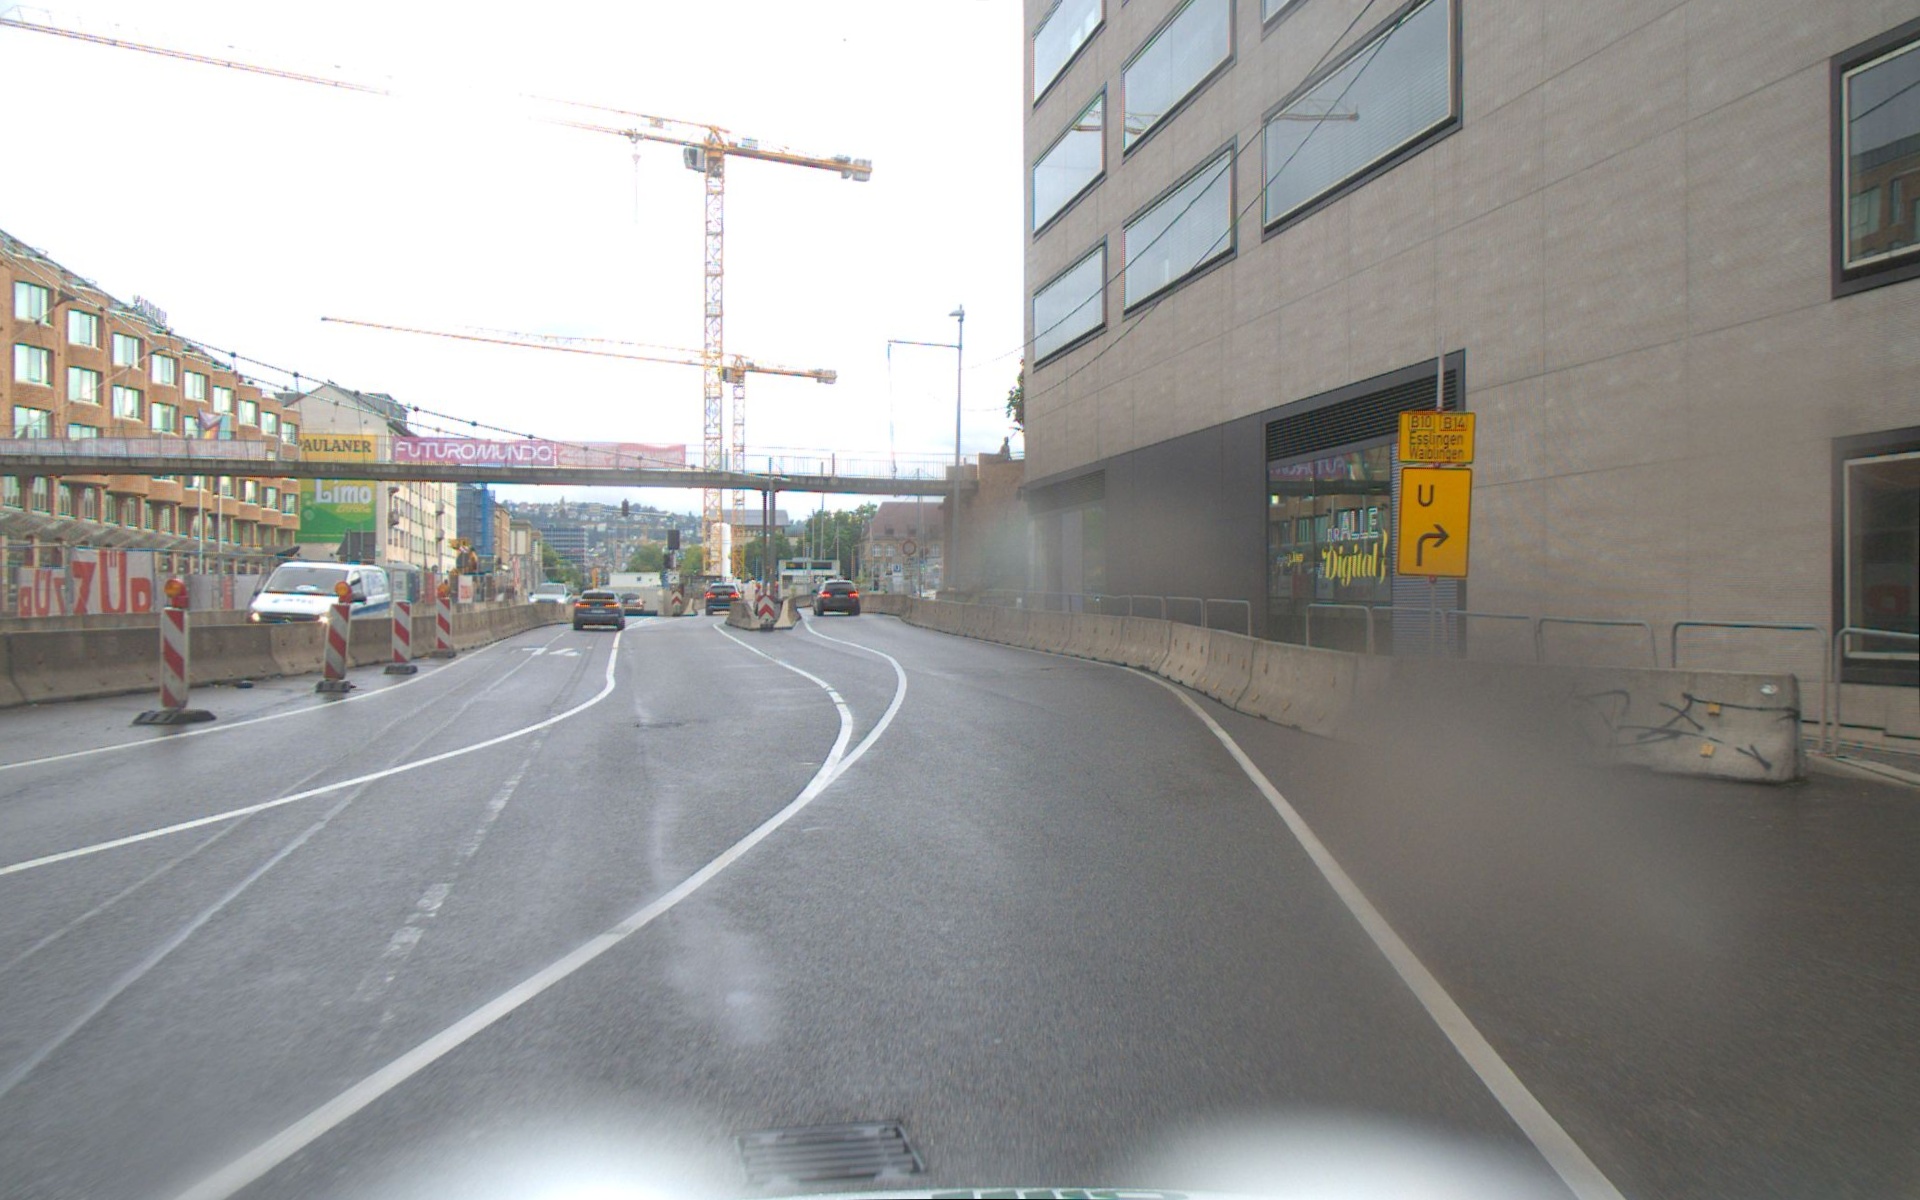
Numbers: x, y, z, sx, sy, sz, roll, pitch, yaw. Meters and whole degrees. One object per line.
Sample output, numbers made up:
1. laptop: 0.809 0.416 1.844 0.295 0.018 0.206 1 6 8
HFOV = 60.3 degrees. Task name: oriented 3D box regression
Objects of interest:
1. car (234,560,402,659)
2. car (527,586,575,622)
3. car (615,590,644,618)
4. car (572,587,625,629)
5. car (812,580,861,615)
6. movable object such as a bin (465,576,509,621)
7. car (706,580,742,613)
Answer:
1. car: -13.285 0.157 34.568 1.954 1.918 4.865 0 0 -5
2. car: -20.499 0.176 83.040 1.957 1.651 4.692 -1 1 -9
3. car: -21.650 0.222 108.337 1.830 1.796 4.642 0 1 -12
4. car: -13.359 0.260 61.012 1.831 1.468 4.640 0 1 -14
5. car: -5.275 -0.121 70.334 1.827 1.458 4.649 0 1 -7
6. movable object such as a bin: -26.173 -0.086 91.570 1.992 2.317 4.278 -4 1 -14
7. car: -12.401 -0.181 86.773 1.828 1.689 4.647 0 1 -9
